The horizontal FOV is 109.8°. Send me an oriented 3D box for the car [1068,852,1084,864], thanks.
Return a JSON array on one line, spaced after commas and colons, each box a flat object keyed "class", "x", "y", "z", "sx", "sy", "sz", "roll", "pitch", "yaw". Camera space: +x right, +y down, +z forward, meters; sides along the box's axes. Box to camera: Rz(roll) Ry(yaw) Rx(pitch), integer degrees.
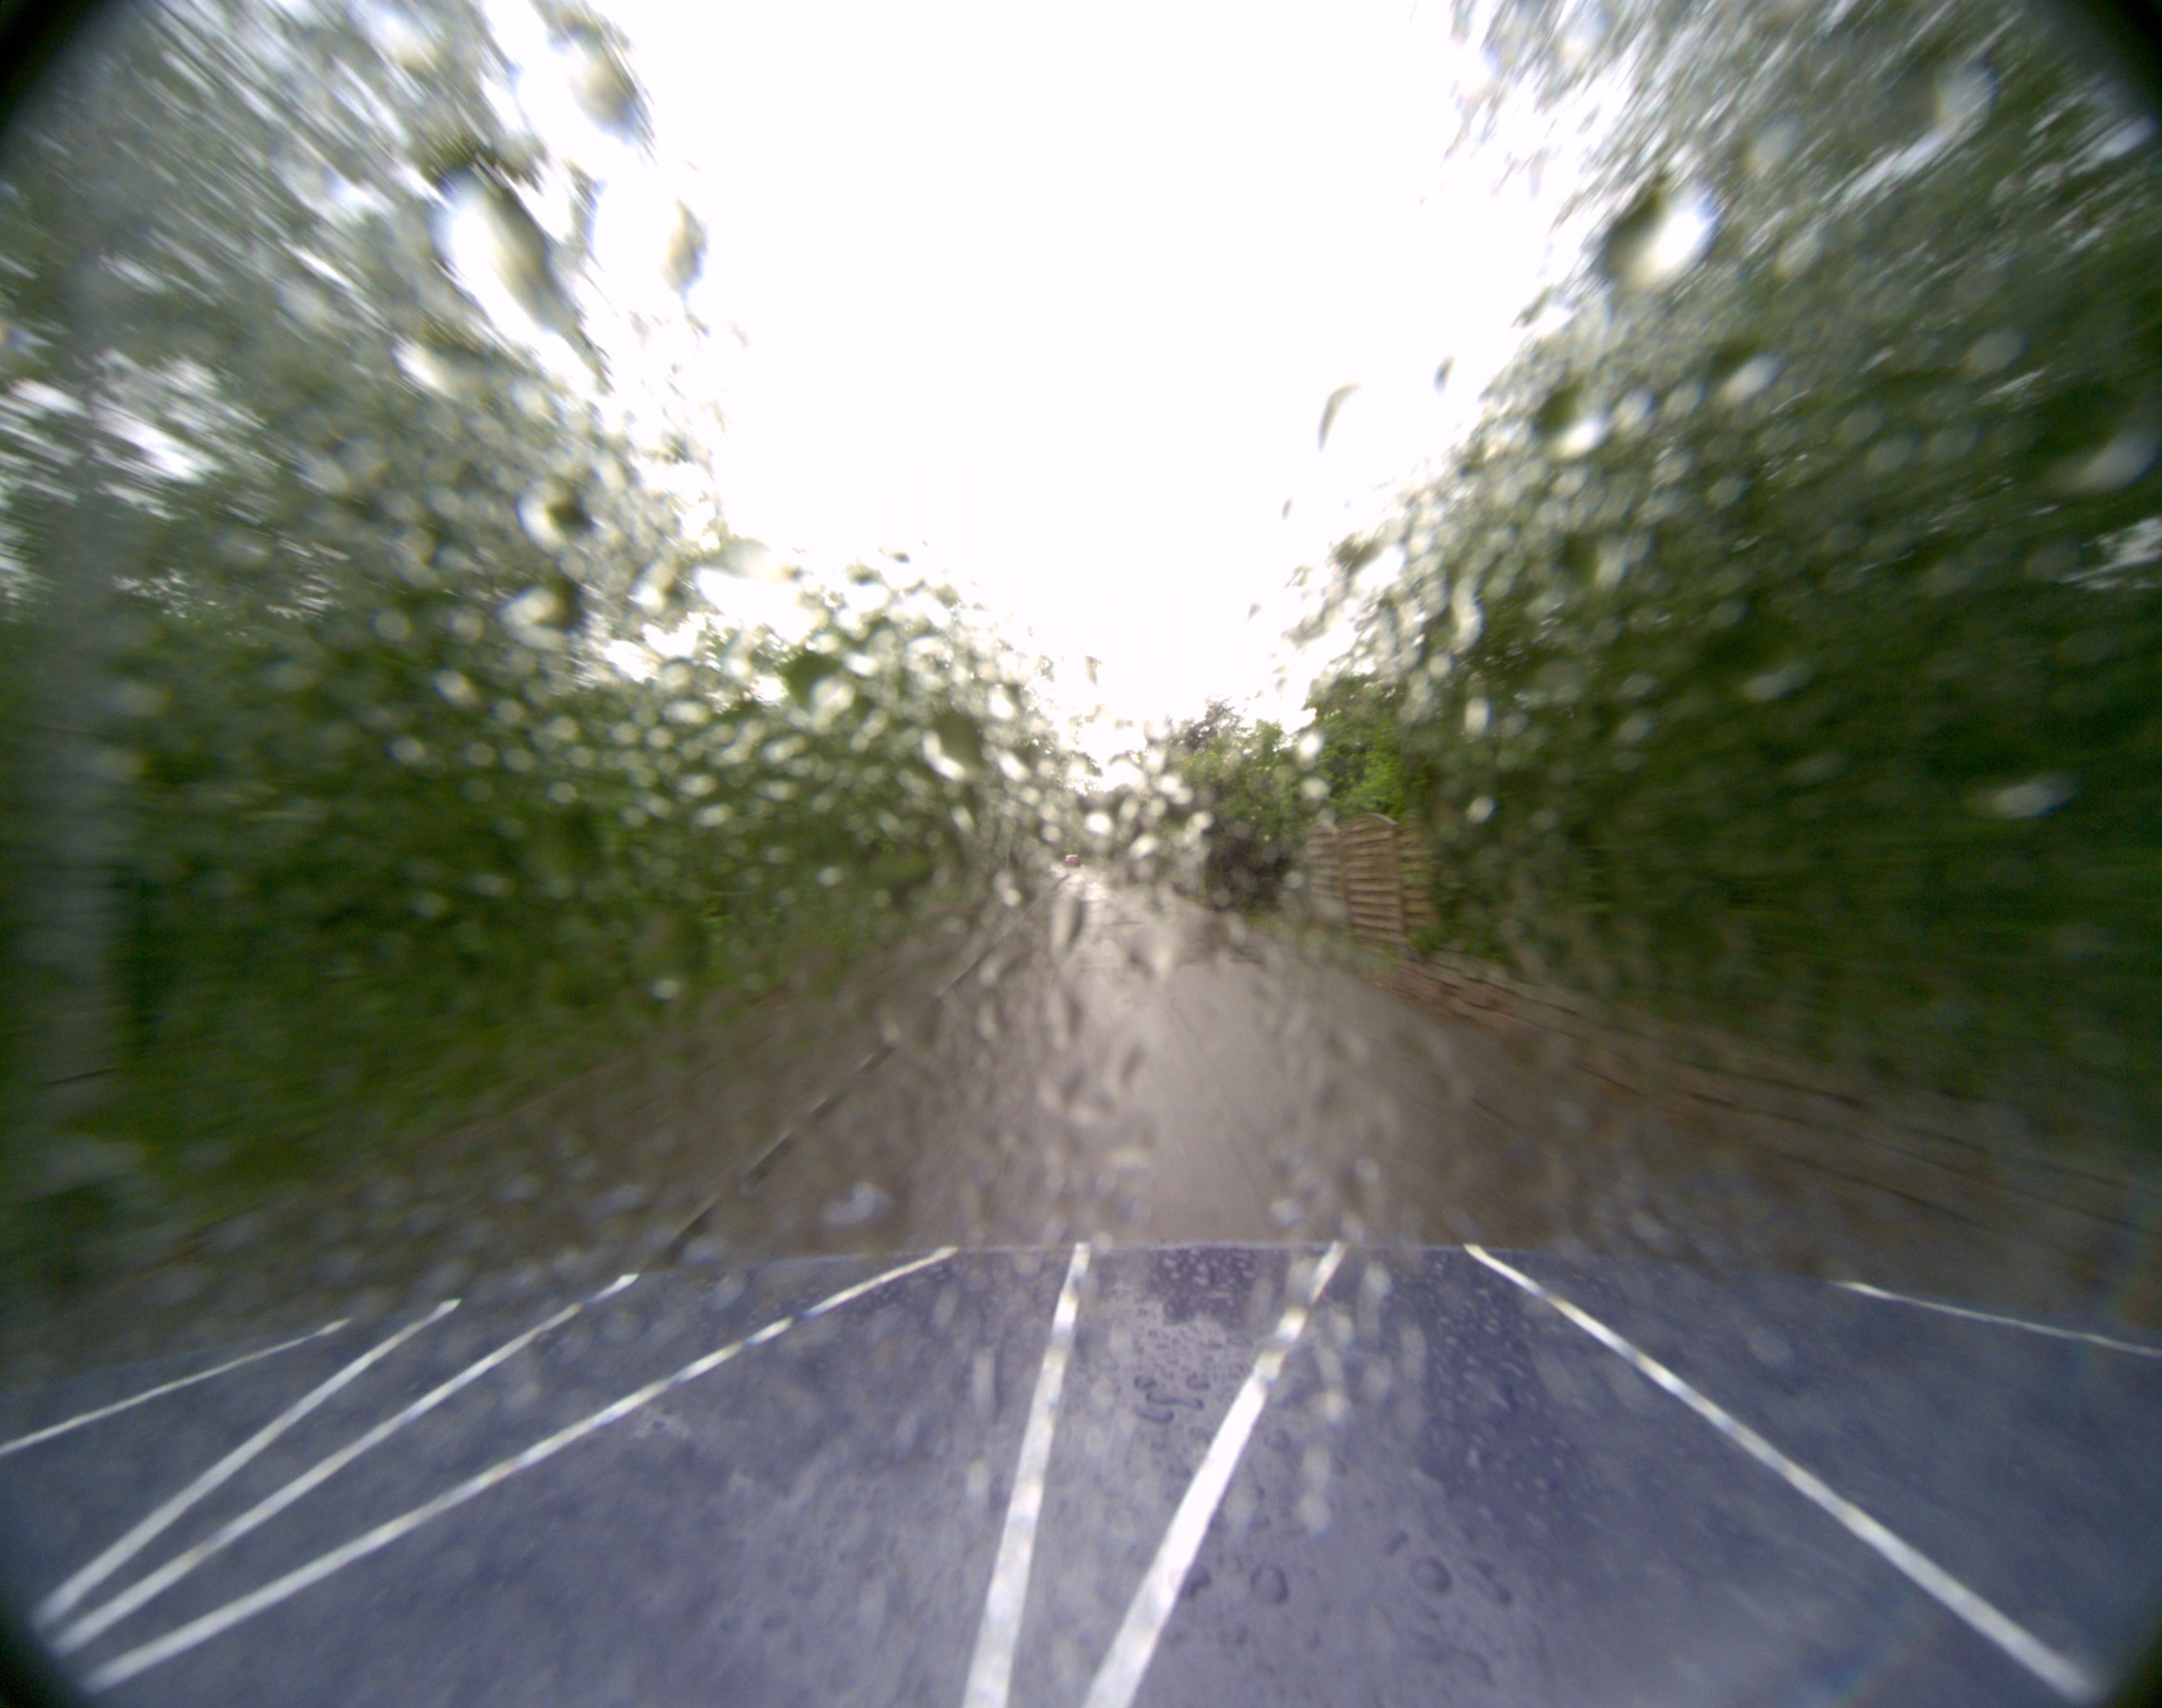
[{"class": "car", "x": -0.634, "y": 0.484, "z": 101.124, "sx": 1.894, "sy": 1.514, "sz": 4.420, "roll": -1, "pitch": 1, "yaw": -3}]
